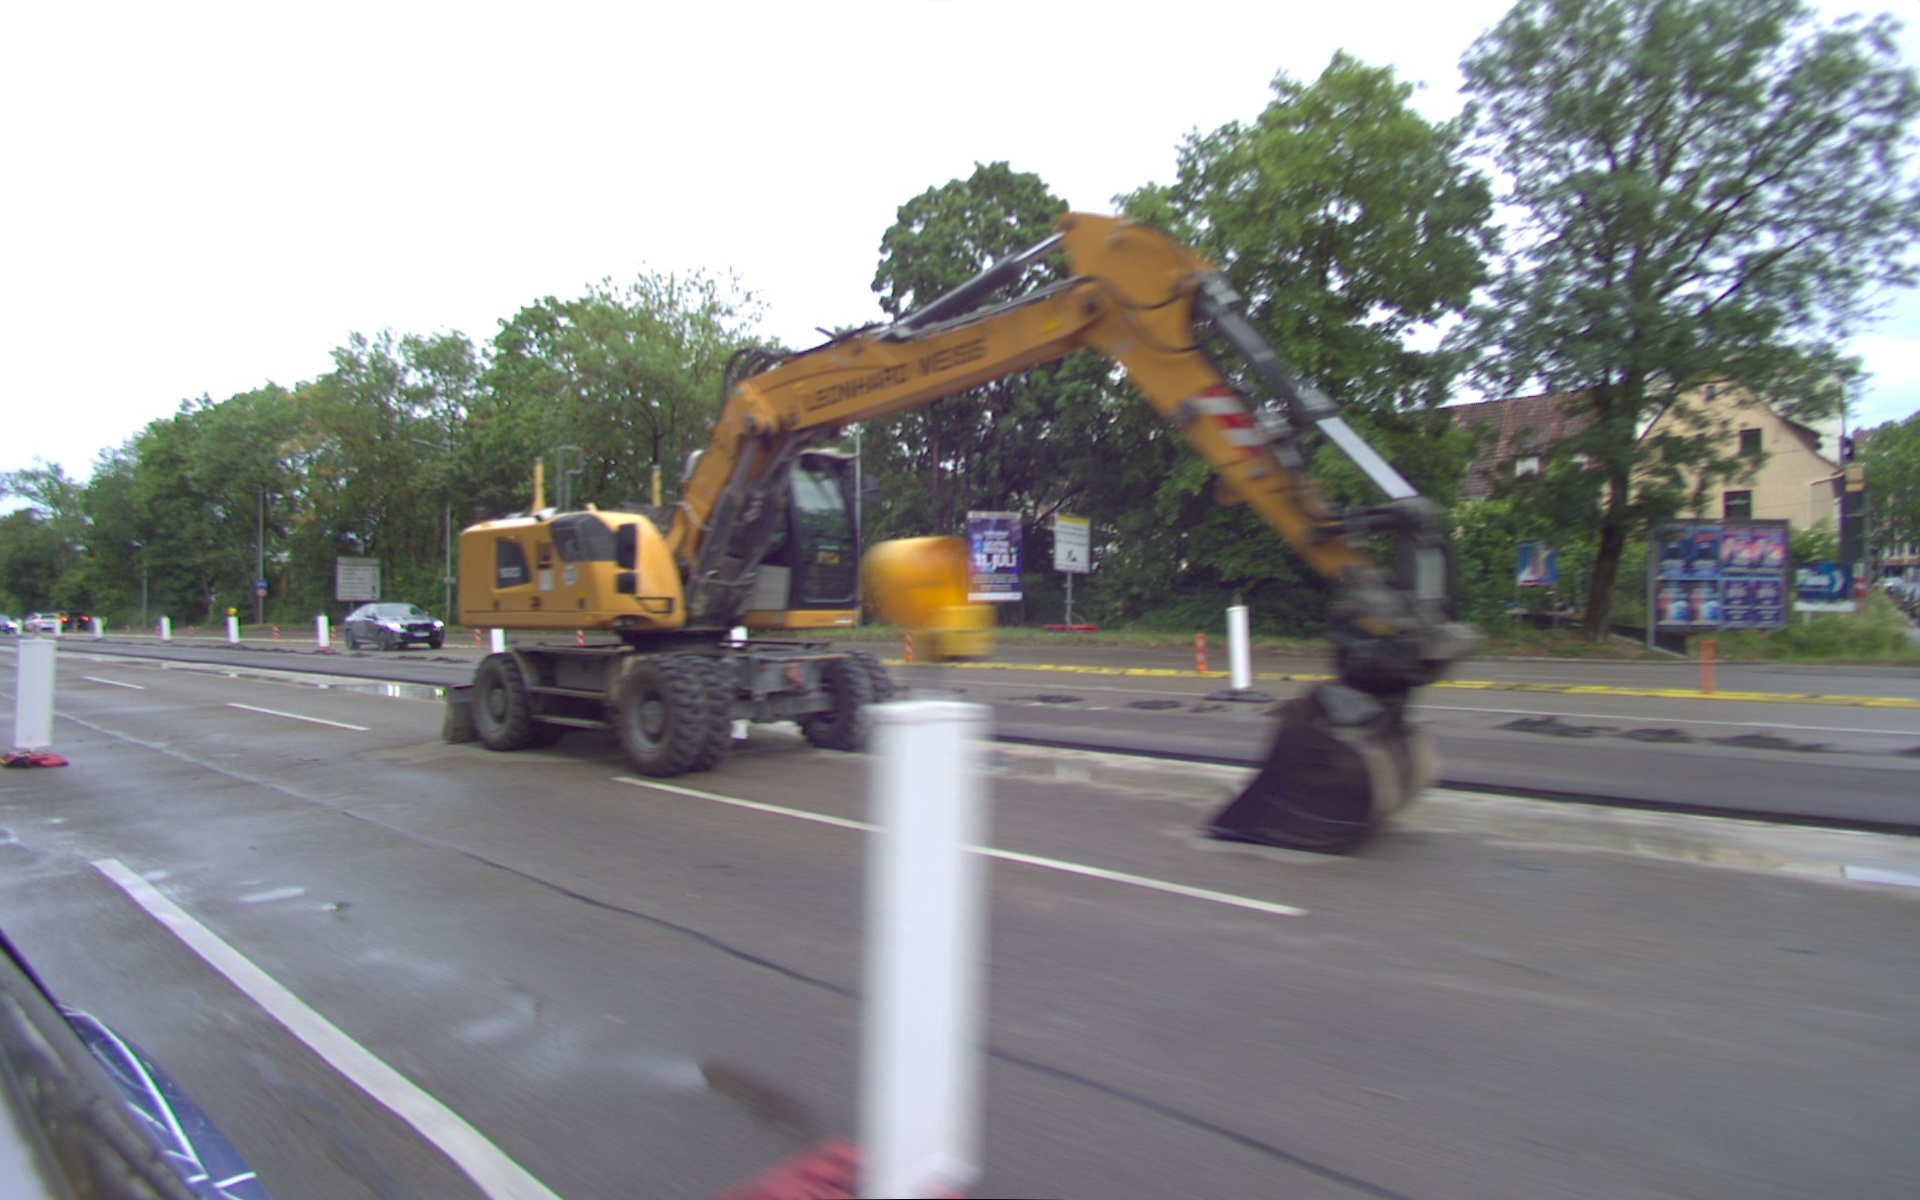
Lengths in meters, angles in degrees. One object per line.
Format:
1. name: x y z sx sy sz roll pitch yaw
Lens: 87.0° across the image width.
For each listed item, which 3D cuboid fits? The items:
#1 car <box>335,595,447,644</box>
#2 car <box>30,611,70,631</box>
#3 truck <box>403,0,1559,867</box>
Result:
1. car: -20.574 0.682 36.513 4.808 1.641 1.973 -1 0 40
2. car: -80.445 1.803 89.426 4.887 1.674 1.872 -1 0 39
3. truck: -0.986 -0.855 9.128 10.736 4.291 2.871 -1 0 37
